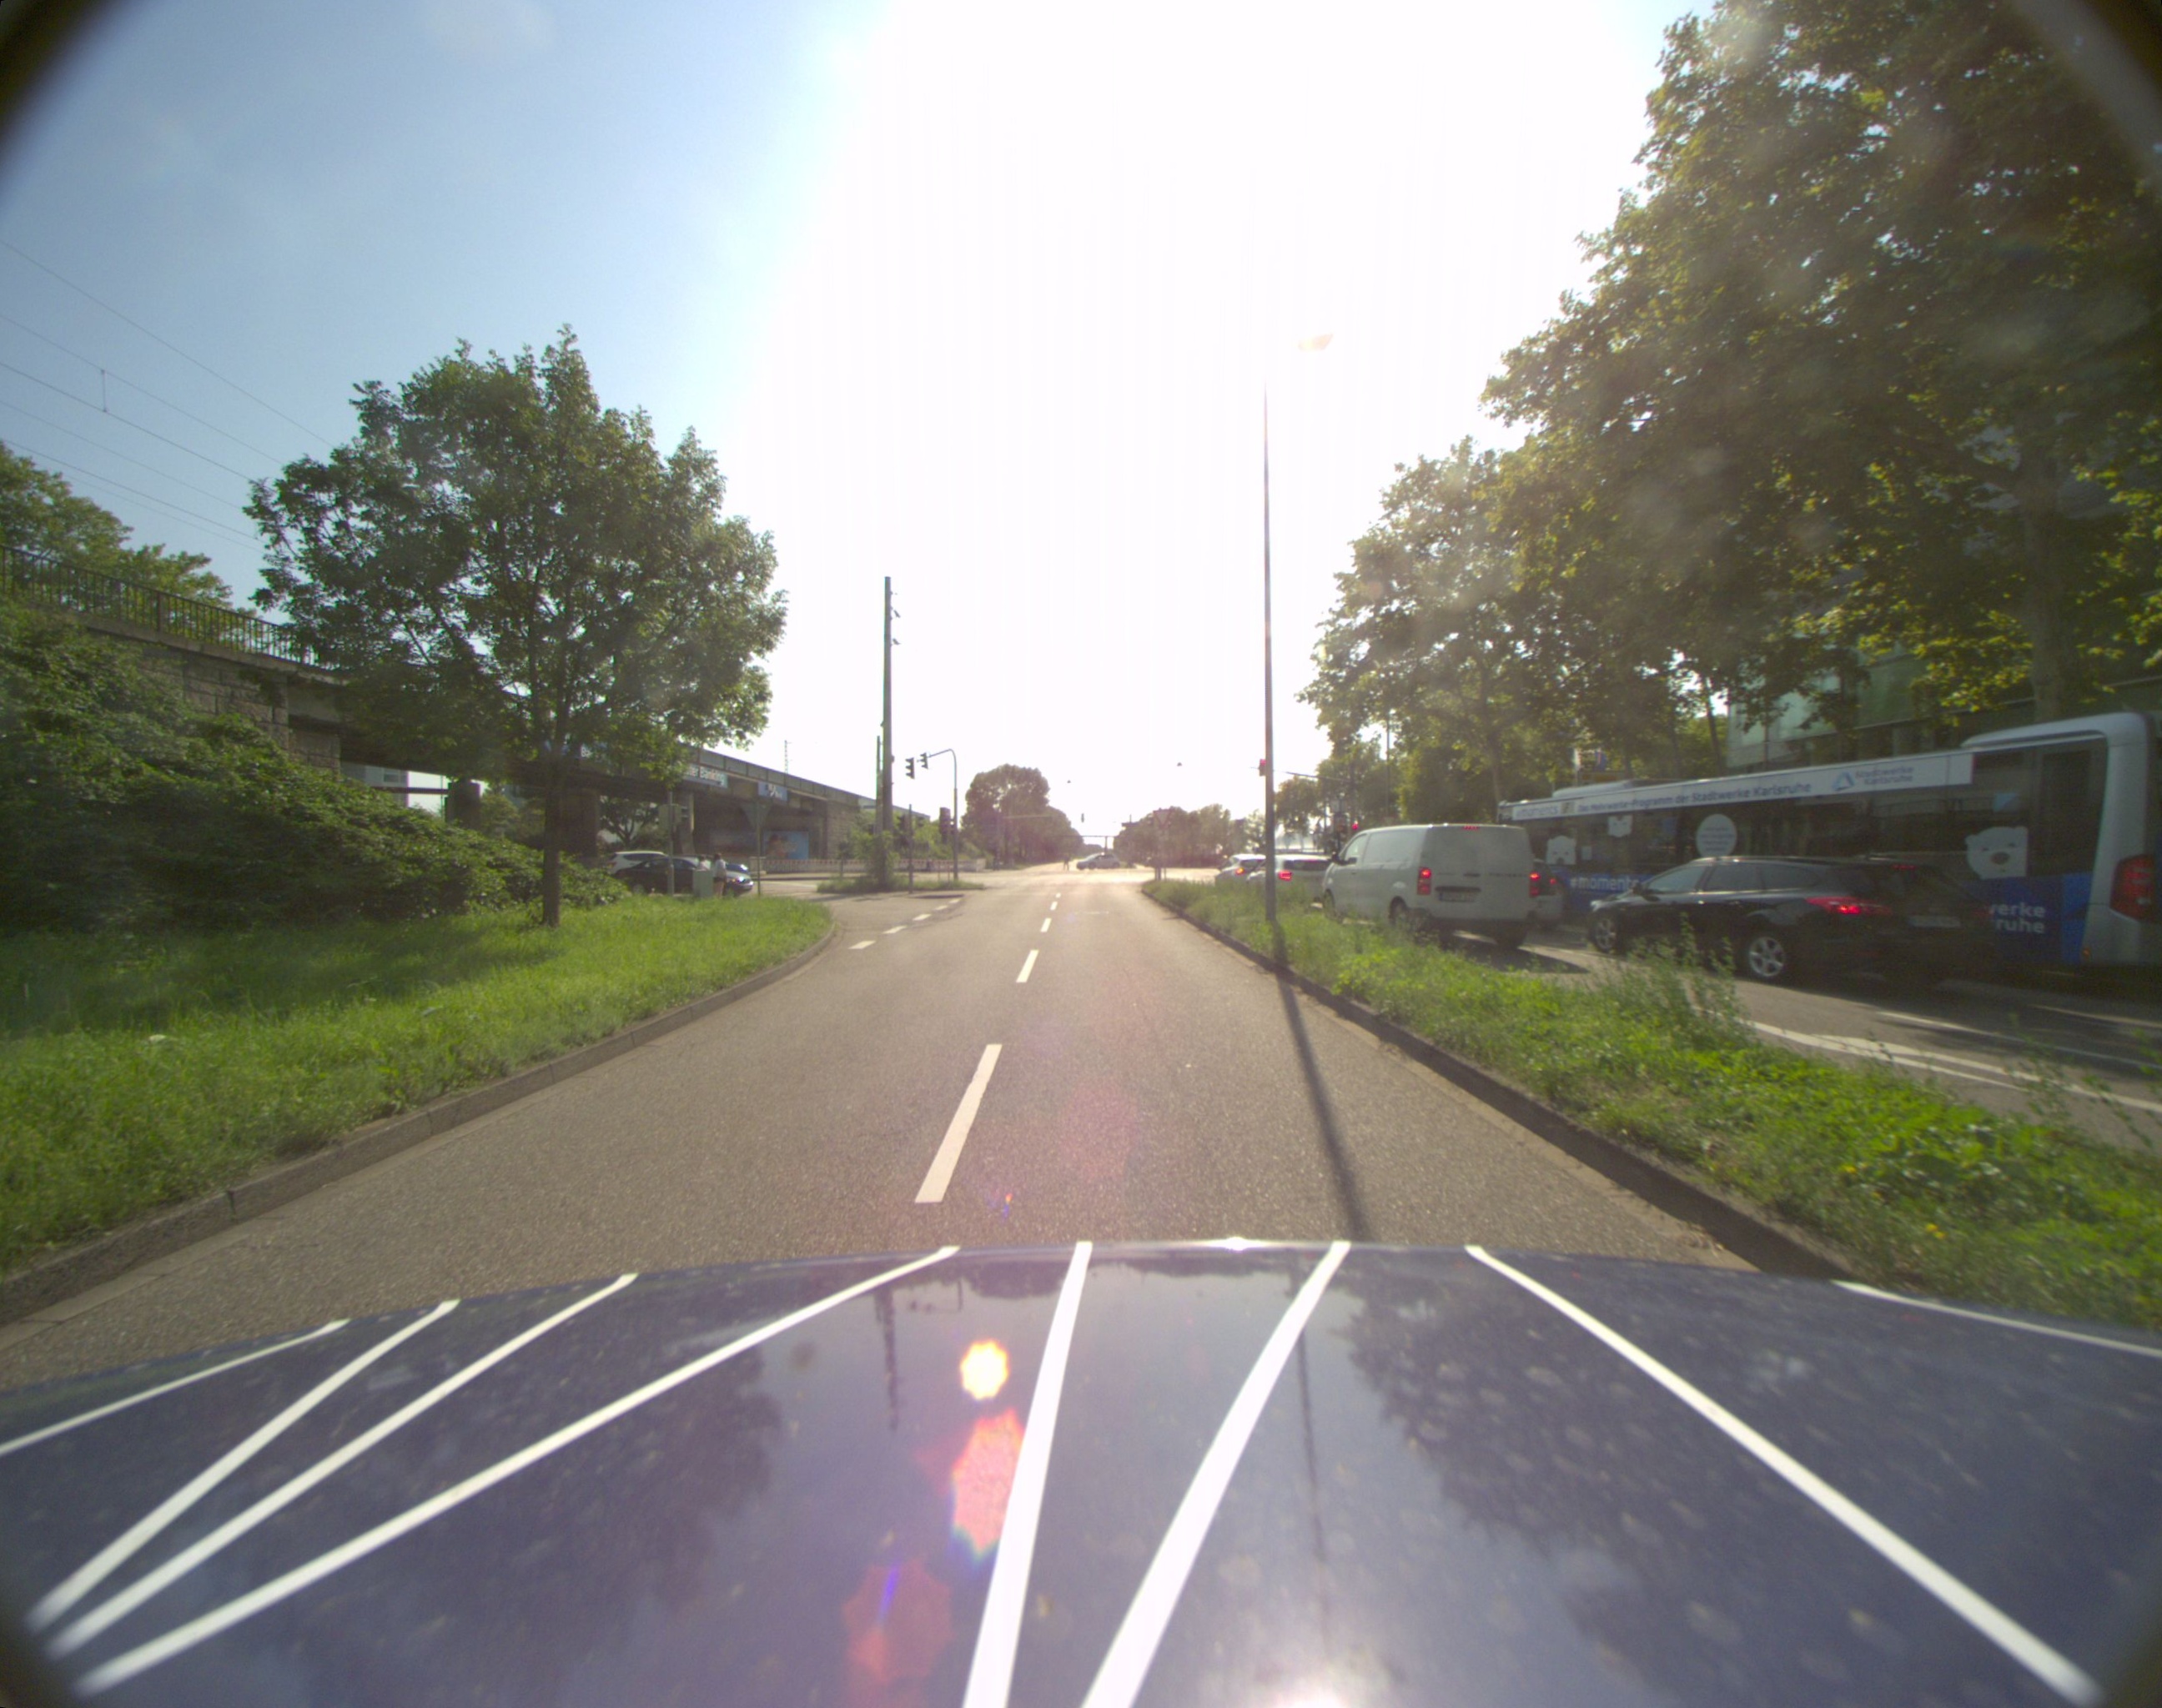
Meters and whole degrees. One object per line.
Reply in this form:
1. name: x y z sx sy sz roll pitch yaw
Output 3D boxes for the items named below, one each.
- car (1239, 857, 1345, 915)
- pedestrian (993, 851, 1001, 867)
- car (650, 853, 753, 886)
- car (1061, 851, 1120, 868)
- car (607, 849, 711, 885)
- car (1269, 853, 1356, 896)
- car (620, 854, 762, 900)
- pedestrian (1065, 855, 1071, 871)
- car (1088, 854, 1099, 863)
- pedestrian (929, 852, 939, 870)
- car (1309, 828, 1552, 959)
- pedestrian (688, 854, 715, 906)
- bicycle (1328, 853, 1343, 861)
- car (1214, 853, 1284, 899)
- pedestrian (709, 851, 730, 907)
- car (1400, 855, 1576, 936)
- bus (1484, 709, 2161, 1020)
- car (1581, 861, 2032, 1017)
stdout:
1. car: 5.671 0.809 20.924 1.713 1.394 4.083 1 0 0
2. pedestrian: -8.400 0.504 76.071 0.649 1.565 0.759 1 1 1
3. car: -17.430 0.691 34.978 4.007 1.444 1.613 0 0 -36
4. car: 0.913 0.521 69.864 5.441 1.438 1.855 -1 1 -37
5. car: -20.294 0.574 36.556 4.224 1.608 2.006 -1 1 -33
6. car: 8.603 0.716 28.652 1.859 1.495 4.263 1 0 -1
7. car: -13.858 0.803 27.122 4.187 1.524 1.872 -1 1 9
8. pedestrian: -1.358 0.931 81.234 0.587 1.715 0.647 0 1 -4
9. car: 2.304 0.823 135.125 1.864 1.584 4.000 0 0 2
10. pedestrian: -12.904 0.647 66.663 0.636 1.565 0.489 -2 1 -37
11. car: 5.748 0.550 13.345 1.916 1.853 4.889 1 0 -1
12. pedestrian: -11.762 0.793 23.553 0.573 1.558 0.535 -2 2 -41
13. bicycle: 27.244 0.349 81.349 0.531 0.860 1.734 -1 1 -21
14. car: 5.825 0.723 26.775 1.647 1.487 4.000 0 0 1
15. pedestrian: -10.981 0.734 23.095 0.493 1.672 0.570 -1 1 -31
16. car: 8.656 0.806 16.556 1.711 1.458 3.821 2 1 -1
17. bus: 11.802 0.037 13.646 2.597 3.062 12.310 -1 1 0
18. car: 8.543 0.860 9.605 1.651 1.425 4.189 1 1 0
